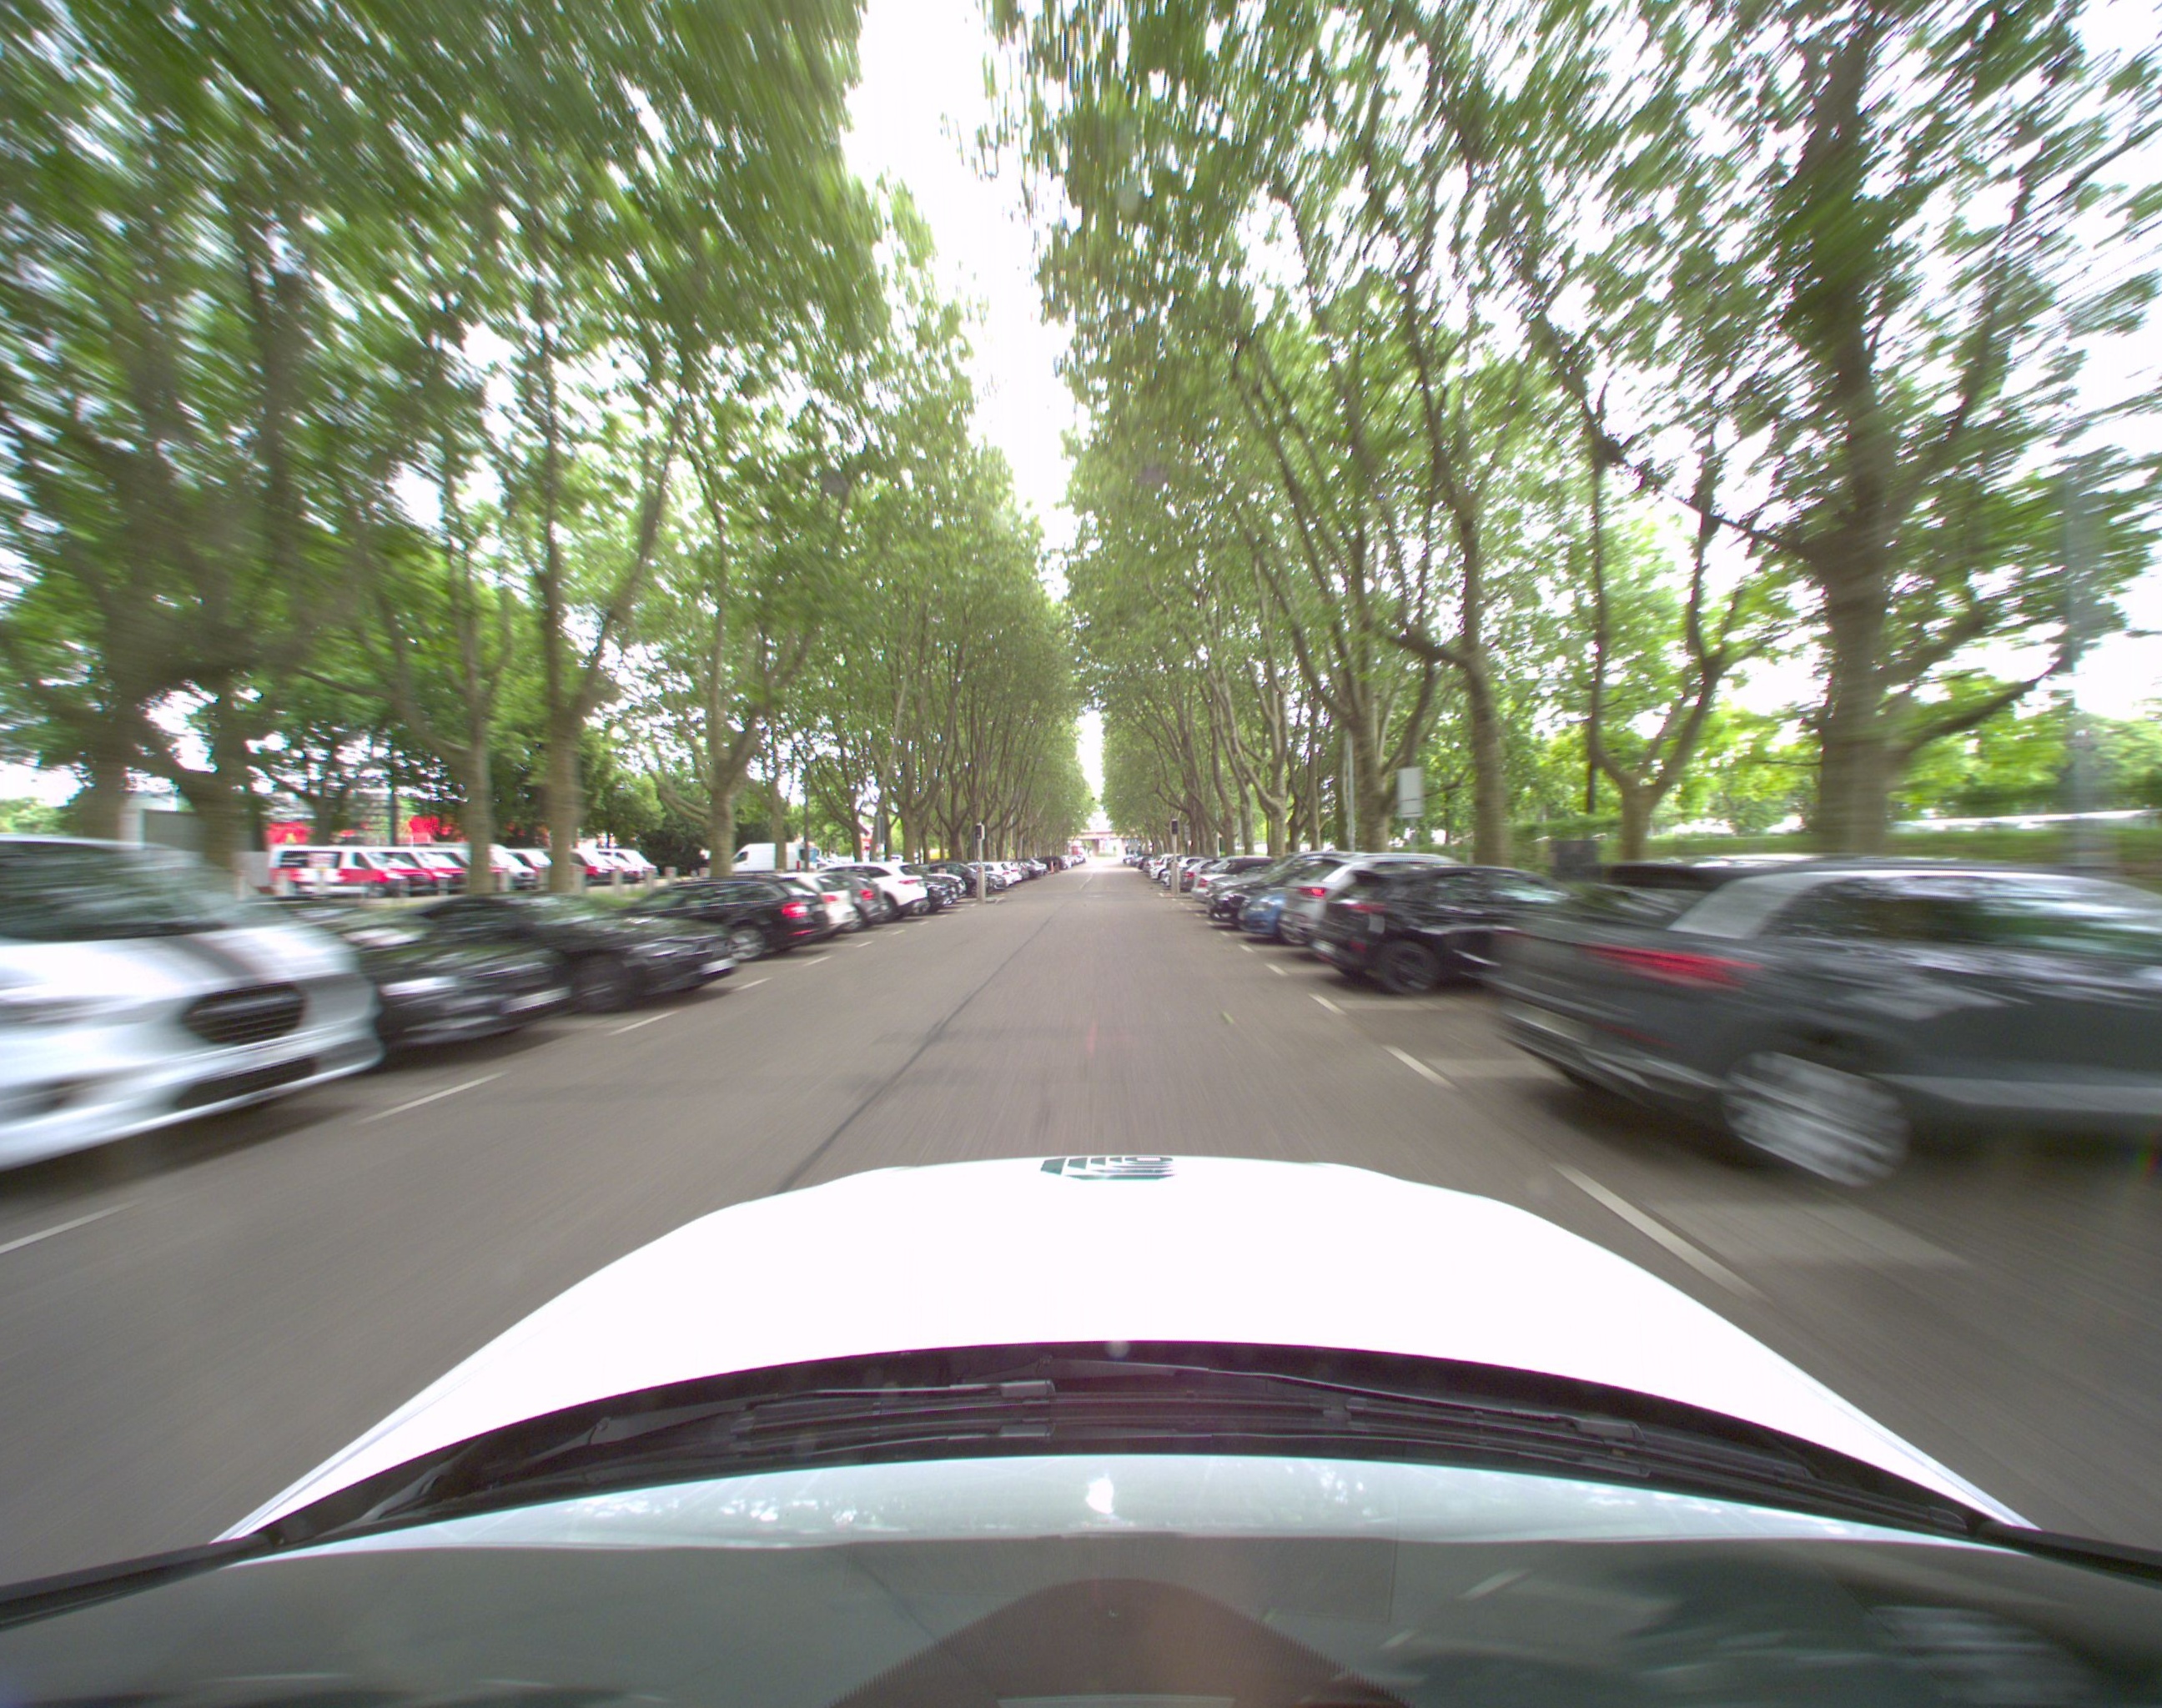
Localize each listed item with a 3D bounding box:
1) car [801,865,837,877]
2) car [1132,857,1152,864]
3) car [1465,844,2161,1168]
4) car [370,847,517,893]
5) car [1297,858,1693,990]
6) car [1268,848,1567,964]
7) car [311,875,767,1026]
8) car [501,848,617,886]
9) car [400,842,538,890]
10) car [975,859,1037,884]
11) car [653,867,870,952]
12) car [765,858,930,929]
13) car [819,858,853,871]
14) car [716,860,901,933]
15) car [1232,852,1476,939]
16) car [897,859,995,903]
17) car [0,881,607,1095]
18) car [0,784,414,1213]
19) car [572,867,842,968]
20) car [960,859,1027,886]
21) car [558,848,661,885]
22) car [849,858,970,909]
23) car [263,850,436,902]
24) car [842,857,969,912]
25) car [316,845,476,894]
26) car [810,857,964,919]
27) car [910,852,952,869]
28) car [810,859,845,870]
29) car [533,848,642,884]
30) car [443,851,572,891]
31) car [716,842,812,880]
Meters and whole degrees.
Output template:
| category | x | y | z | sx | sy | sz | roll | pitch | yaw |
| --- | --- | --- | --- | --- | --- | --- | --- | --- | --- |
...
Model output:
| category | x | y | z | sx | sy | sz | roll | pitch | yaw |
| --- | --- | --- | --- | --- | --- | --- | --- | --- | --- |
| car | -30.356 | 1.920 | 94.388 | 3.743 | 1.349 | 1.536 | 0 | 0 | 0 |
| car | 13.457 | 1.470 | 180.632 | 4.359 | 1.523 | 1.732 | 0 | 0 | 2 |
| car | 4.553 | 0.698 | 4.618 | 3.974 | 1.486 | 1.694 | 0 | 0 | 0 |
| car | -32.449 | 0.797 | 41.559 | 5.979 | 2.318 | 2.001 | 0 | 0 | 1 |
| car | 4.657 | 0.752 | 9.567 | 3.814 | 1.389 | 1.694 | 0 | 0 | 0 |
| car | 4.905 | 0.723 | 12.240 | 3.814 | 1.607 | 1.694 | 0 | 0 | 0 |
| car | -6.411 | 1.116 | 9.904 | 4.426 | 1.452 | 1.777 | -3 | 0 | 6 |
| car | -32.839 | 0.810 | 51.350 | 5.979 | 2.330 | 2.001 | 0 | 0 | 1 |
| car | -33.148 | 0.650 | 44.196 | 5.979 | 2.527 | 2.001 | 0 | 0 | 1 |
| car | -5.000 | 1.175 | 54.575 | 3.808 | 1.430 | 1.697 | -3 | 0 | 6 |
| car | -6.637 | 1.125 | 17.216 | 3.743 | 1.474 | 1.864 | -3 | 0 | 0 |
| car | -6.179 | 1.017 | 21.911 | 3.816 | 1.627 | 1.952 | -3 | 0 | -1 |
| car | -30.546 | 1.245 | 101.536 | 3.744 | 1.590 | 1.535 | 0 | 0 | -1 |
| car | -6.446 | 0.985 | 19.575 | 3.816 | 1.471 | 1.693 | -3 | 0 | -1 |
| car | 4.766 | 0.706 | 14.581 | 3.814 | 1.455 | 1.694 | 0 | 0 | 0 |
| car | -5.636 | 1.104 | 34.329 | 3.816 | 1.608 | 1.693 | -3 | 0 | -1 |
| car | -7.051 | 1.108 | 7.339 | 4.433 | 1.452 | 1.774 | -3 | 0 | 1 |
| car | -7.242 | 0.803 | 4.847 | 4.876 | 2.019 | 1.920 | -3 | 0 | 1 |
| car | -6.491 | 1.074 | 14.441 | 3.984 | 1.471 | 1.536 | -3 | 0 | -1 |
| car | -5.325 | 1.129 | 49.896 | 3.814 | 1.430 | 1.802 | -3 | 0 | 0 |
| car | -32.535 | 0.850 | 56.287 | 5.979 | 2.527 | 2.001 | 0 | 0 | 1 |
| car | -6.244 | 1.070 | 29.991 | 4.032 | 1.608 | 1.693 | -3 | -1 | -1 |
| car | -32.647 | 0.941 | 36.445 | 5.979 | 2.252 | 2.001 | 0 | 0 | 1 |
| car | -5.870 | 0.989 | 27.599 | 3.816 | 1.608 | 1.833 | -3 | 0 | -1 |
| car | -32.649 | 0.735 | 38.906 | 5.979 | 2.252 | 2.001 | 0 | 0 | 1 |
| car | -5.748 | 0.993 | 24.410 | 4.049 | 1.608 | 1.801 | -3 | 0 | 4 |
| car | -19.378 | 0.848 | 105.275 | 5.061 | 2.232 | 1.536 | 0 | 0 | 0 |
| car | -30.612 | 1.268 | 98.413 | 3.744 | 1.349 | 1.535 | 0 | 0 | -1 |
| car | -32.538 | 0.800 | 53.761 | 5.979 | 2.305 | 2.001 | 0 | 0 | 1 |
| car | -32.781 | 0.936 | 46.637 | 5.979 | 2.240 | 2.001 | 0 | 0 | 1 |
| car | -21.758 | 0.478 | 56.018 | 5.763 | 2.597 | 2.001 | 0 | 0 | 2 |
